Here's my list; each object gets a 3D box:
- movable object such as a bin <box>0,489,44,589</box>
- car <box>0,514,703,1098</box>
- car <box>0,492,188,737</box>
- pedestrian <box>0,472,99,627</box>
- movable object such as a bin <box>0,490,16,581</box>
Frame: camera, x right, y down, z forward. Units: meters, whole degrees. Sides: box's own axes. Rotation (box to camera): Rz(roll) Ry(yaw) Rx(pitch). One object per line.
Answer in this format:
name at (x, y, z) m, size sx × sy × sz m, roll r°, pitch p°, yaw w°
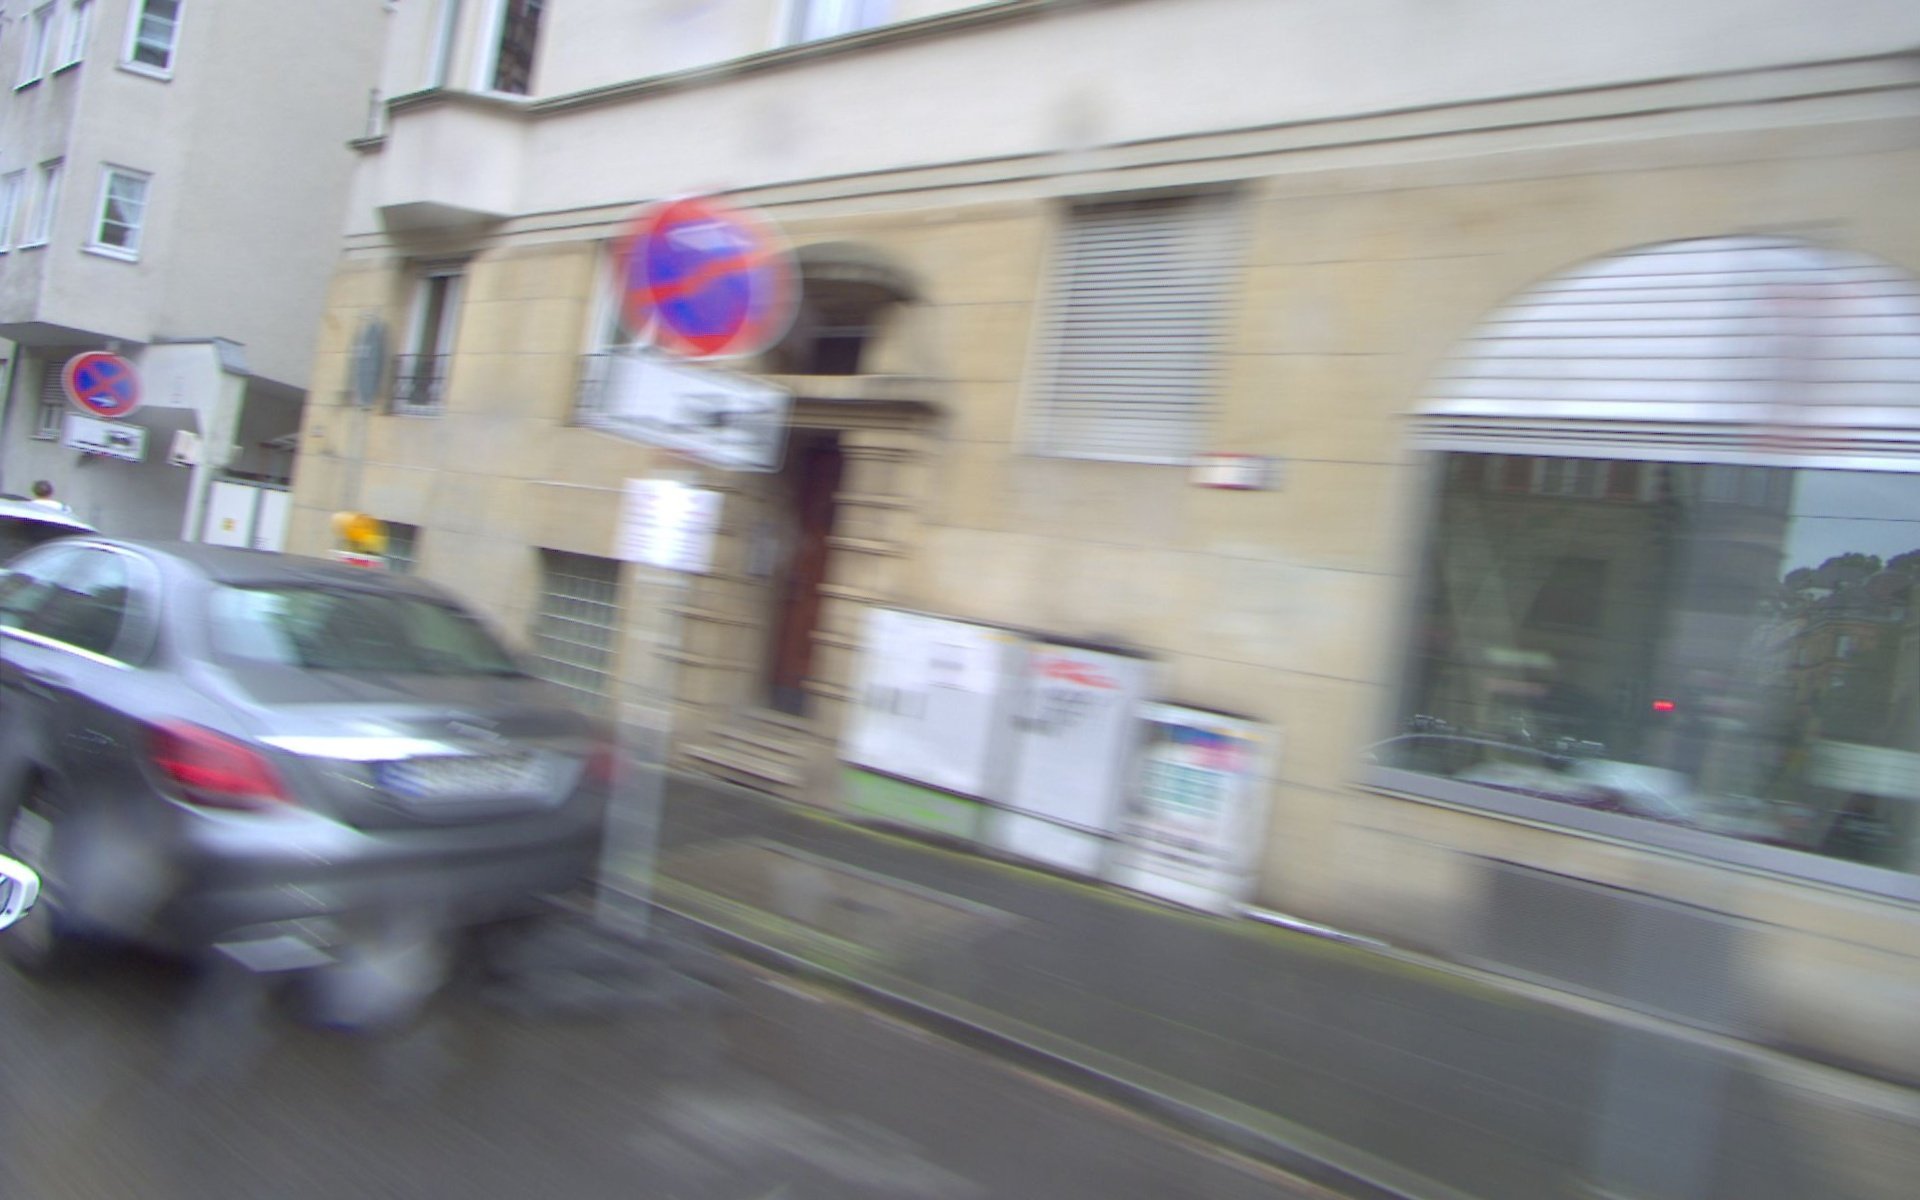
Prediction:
movable object such as a bin at (-15.310, -1.027, 15.753) m, size 1.251 × 1.485 × 0.982 m, roll 7°, pitch -2°, yaw 32°
car at (-3.540, 0.453, 4.643) m, size 4.740 × 1.426 × 1.713 m, roll 6°, pitch -2°, yaw 34°
car at (-7.786, -0.123, 7.407) m, size 4.695 × 1.484 × 1.715 m, roll 6°, pitch -2°, yaw 33°
pedestrian at (-11.081, -0.597, 12.047) m, size 0.742 × 1.706 × 0.806 m, roll 7°, pitch -1°, yaw 31°
movable object such as a bin at (-16.534, -1.164, 16.559) m, size 1.301 × 1.485 × 1.020 m, roll 7°, pitch -2°, yaw 32°
